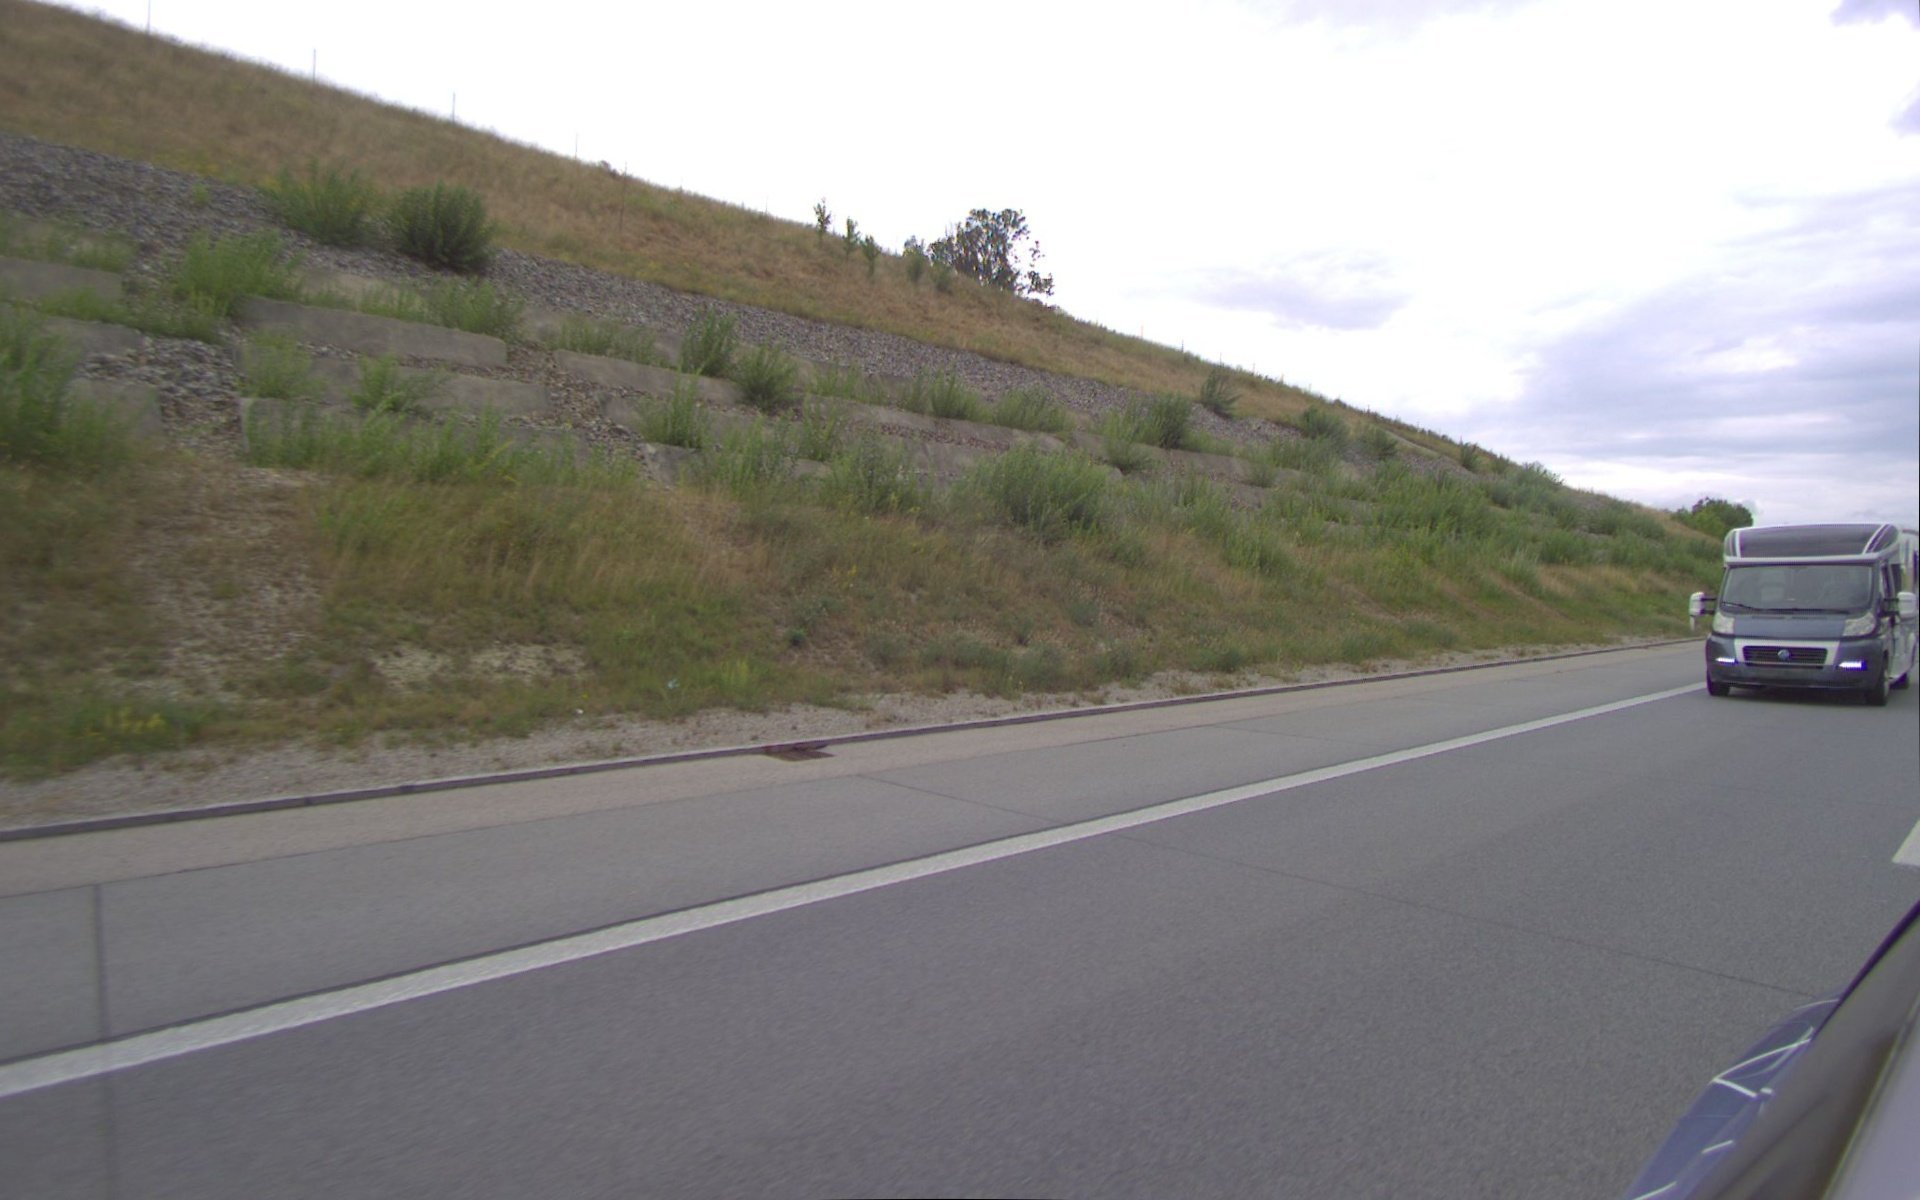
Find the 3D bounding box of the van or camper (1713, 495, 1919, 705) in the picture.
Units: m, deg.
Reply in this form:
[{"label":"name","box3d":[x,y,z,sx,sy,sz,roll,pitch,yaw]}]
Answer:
[{"label":"van or camper","box3d":[14.296,-0.040,16.472,6.786,2.771,2.100,0,1,-43]}]
